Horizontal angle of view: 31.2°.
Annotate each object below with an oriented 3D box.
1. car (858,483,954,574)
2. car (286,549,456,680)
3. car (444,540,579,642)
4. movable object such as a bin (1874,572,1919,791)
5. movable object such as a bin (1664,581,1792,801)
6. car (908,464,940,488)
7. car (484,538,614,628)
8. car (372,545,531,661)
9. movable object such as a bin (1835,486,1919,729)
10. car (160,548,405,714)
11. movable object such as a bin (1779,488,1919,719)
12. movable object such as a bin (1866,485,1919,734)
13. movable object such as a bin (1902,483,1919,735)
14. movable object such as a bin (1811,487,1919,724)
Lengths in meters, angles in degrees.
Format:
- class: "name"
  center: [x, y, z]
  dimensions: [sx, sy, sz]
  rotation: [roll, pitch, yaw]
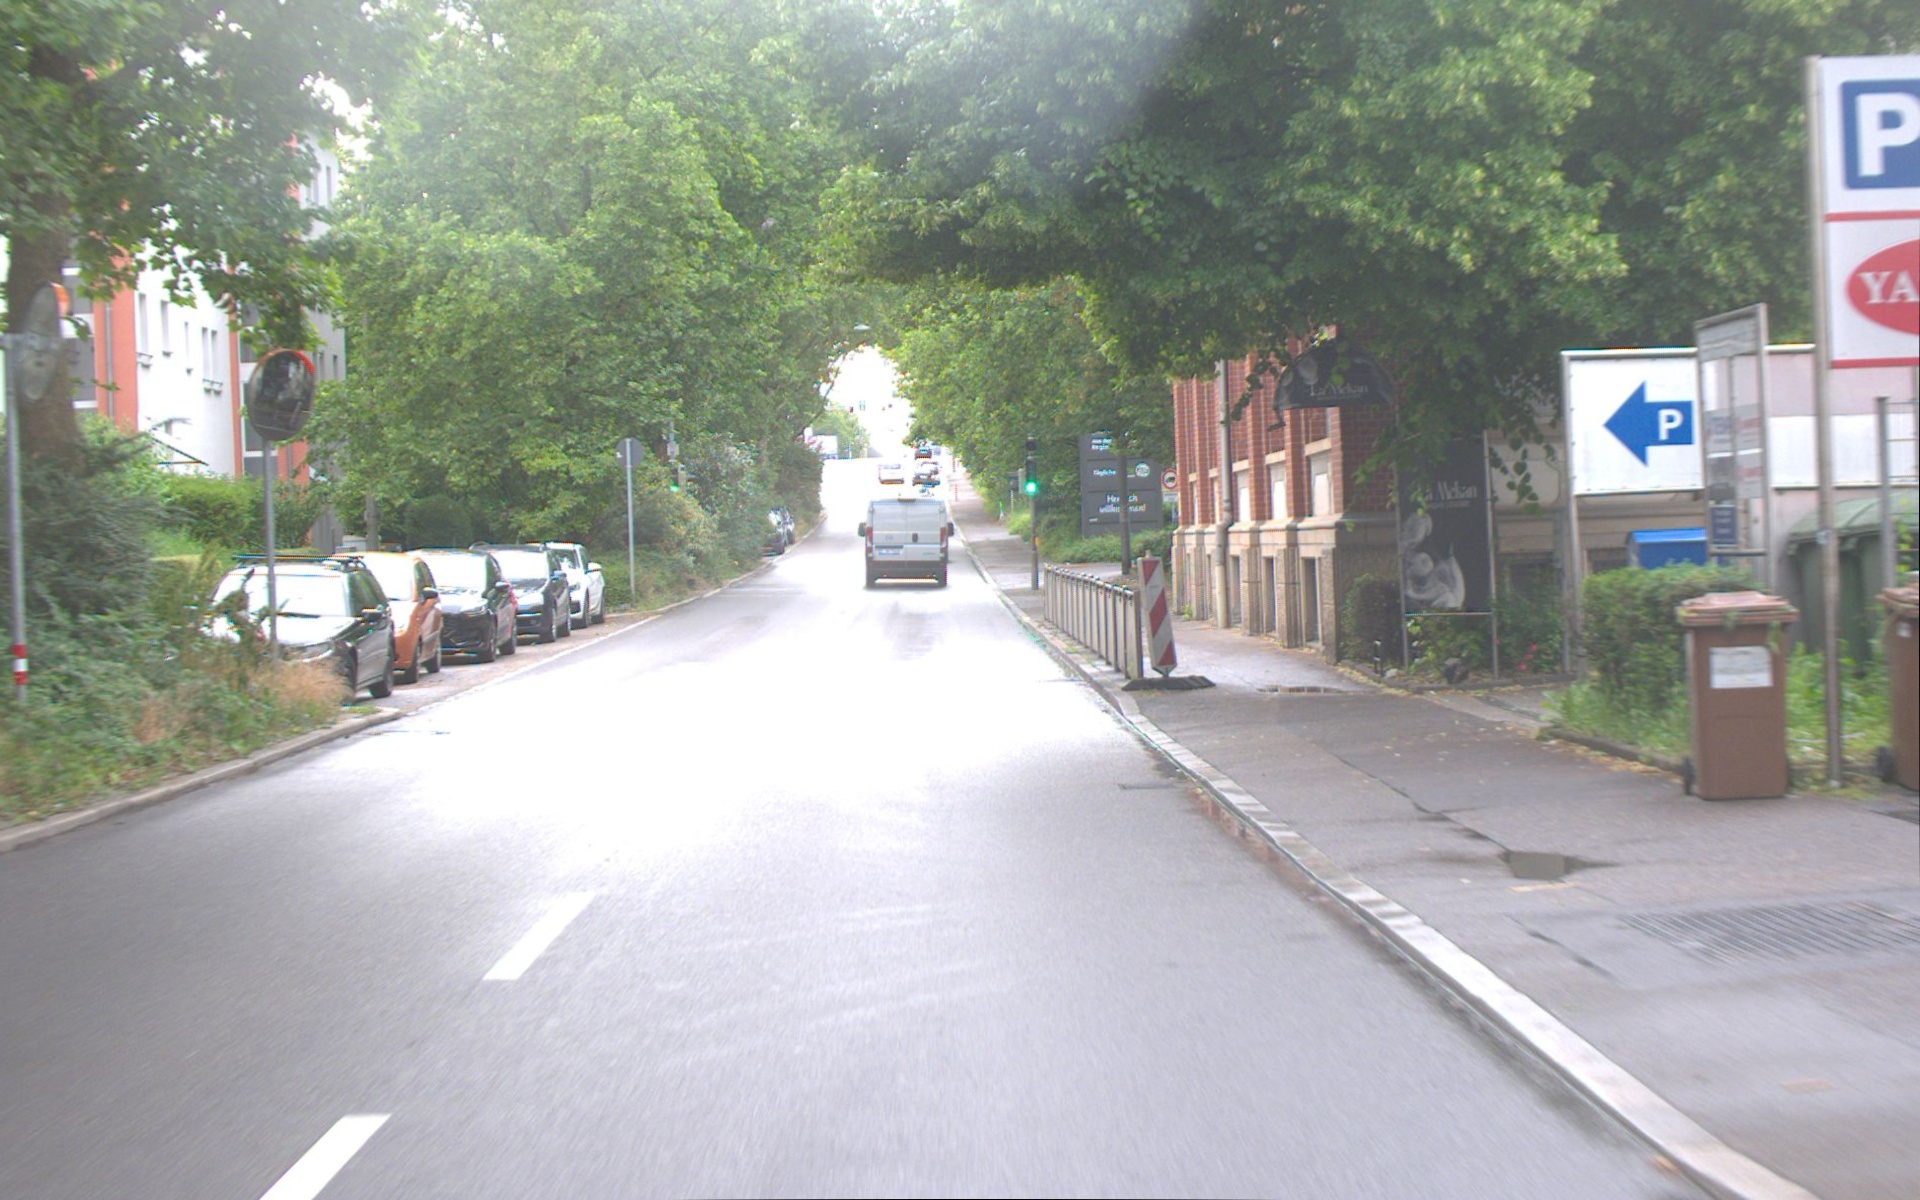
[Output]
- class: "car"
  center: [-1.334, -1.768, 86.324]
  dimensions: [2.336, 2.223, 4.000]
  rotation: [0, 0, 0]
- class: "car"
  center: [-7.032, 0.139, 41.305]
  dimensions: [1.555, 1.462, 3.397]
  rotation: [-1, 1, -2]
- class: "car"
  center: [-6.859, -0.173, 52.920]
  dimensions: [1.716, 1.462, 4.234]
  rotation: [-1, 1, -3]
- class: "movable object such as a bin"
  center: [5.120, 0.412, 17.943]
  dimensions: [0.531, 1.111, 0.561]
  rotation: [-2, 1, 2]
- class: "movable object such as a bin"
  center: [4.027, 0.466, 18.051]
  dimensions: [0.504, 1.111, 0.618]
  rotation: [-2, 1, 0]
- class: "car"
  center: [-2.753, -9.386, 260.735]
  dimensions: [2.149, 1.703, 3.873]
  rotation: [0, 0, 3]
- class: "car"
  center: [-7.087, -0.320, 59.615]
  dimensions: [1.717, 1.462, 4.310]
  rotation: [-1, 1, 0]
- class: "car"
  center: [-6.857, 0.008, 46.642]
  dimensions: [1.716, 1.462, 3.756]
  rotation: [-1, 1, -2]
- class: "movable object such as a bin"
  center: [6.027, 0.032, 21.765]
  dimensions: [0.737, 1.503, 0.625]
  rotation: [-2, 1, -4]
- class: "car"
  center: [-6.789, 0.259, 34.879]
  dimensions: [1.716, 1.504, 4.805]
  rotation: [-1, 1, -2]
- class: "movable object such as a bin"
  center: [5.976, 0.018, 23.052]
  dimensions: [0.737, 1.496, 0.625]
  rotation: [-2, 1, -4]
- class: "movable object such as a bin"
  center: [6.060, 0.037, 21.123]
  dimensions: [0.737, 1.503, 0.625]
  rotation: [-2, 1, -4]
- class: "movable object such as a bin"
  center: [6.086, 0.043, 20.399]
  dimensions: [0.737, 1.503, 0.625]
  rotation: [-3, 1, -4]
- class: "movable object such as a bin"
  center: [6.035, 0.025, 22.412]
  dimensions: [0.737, 1.503, 0.625]
  rotation: [-2, 1, -4]
